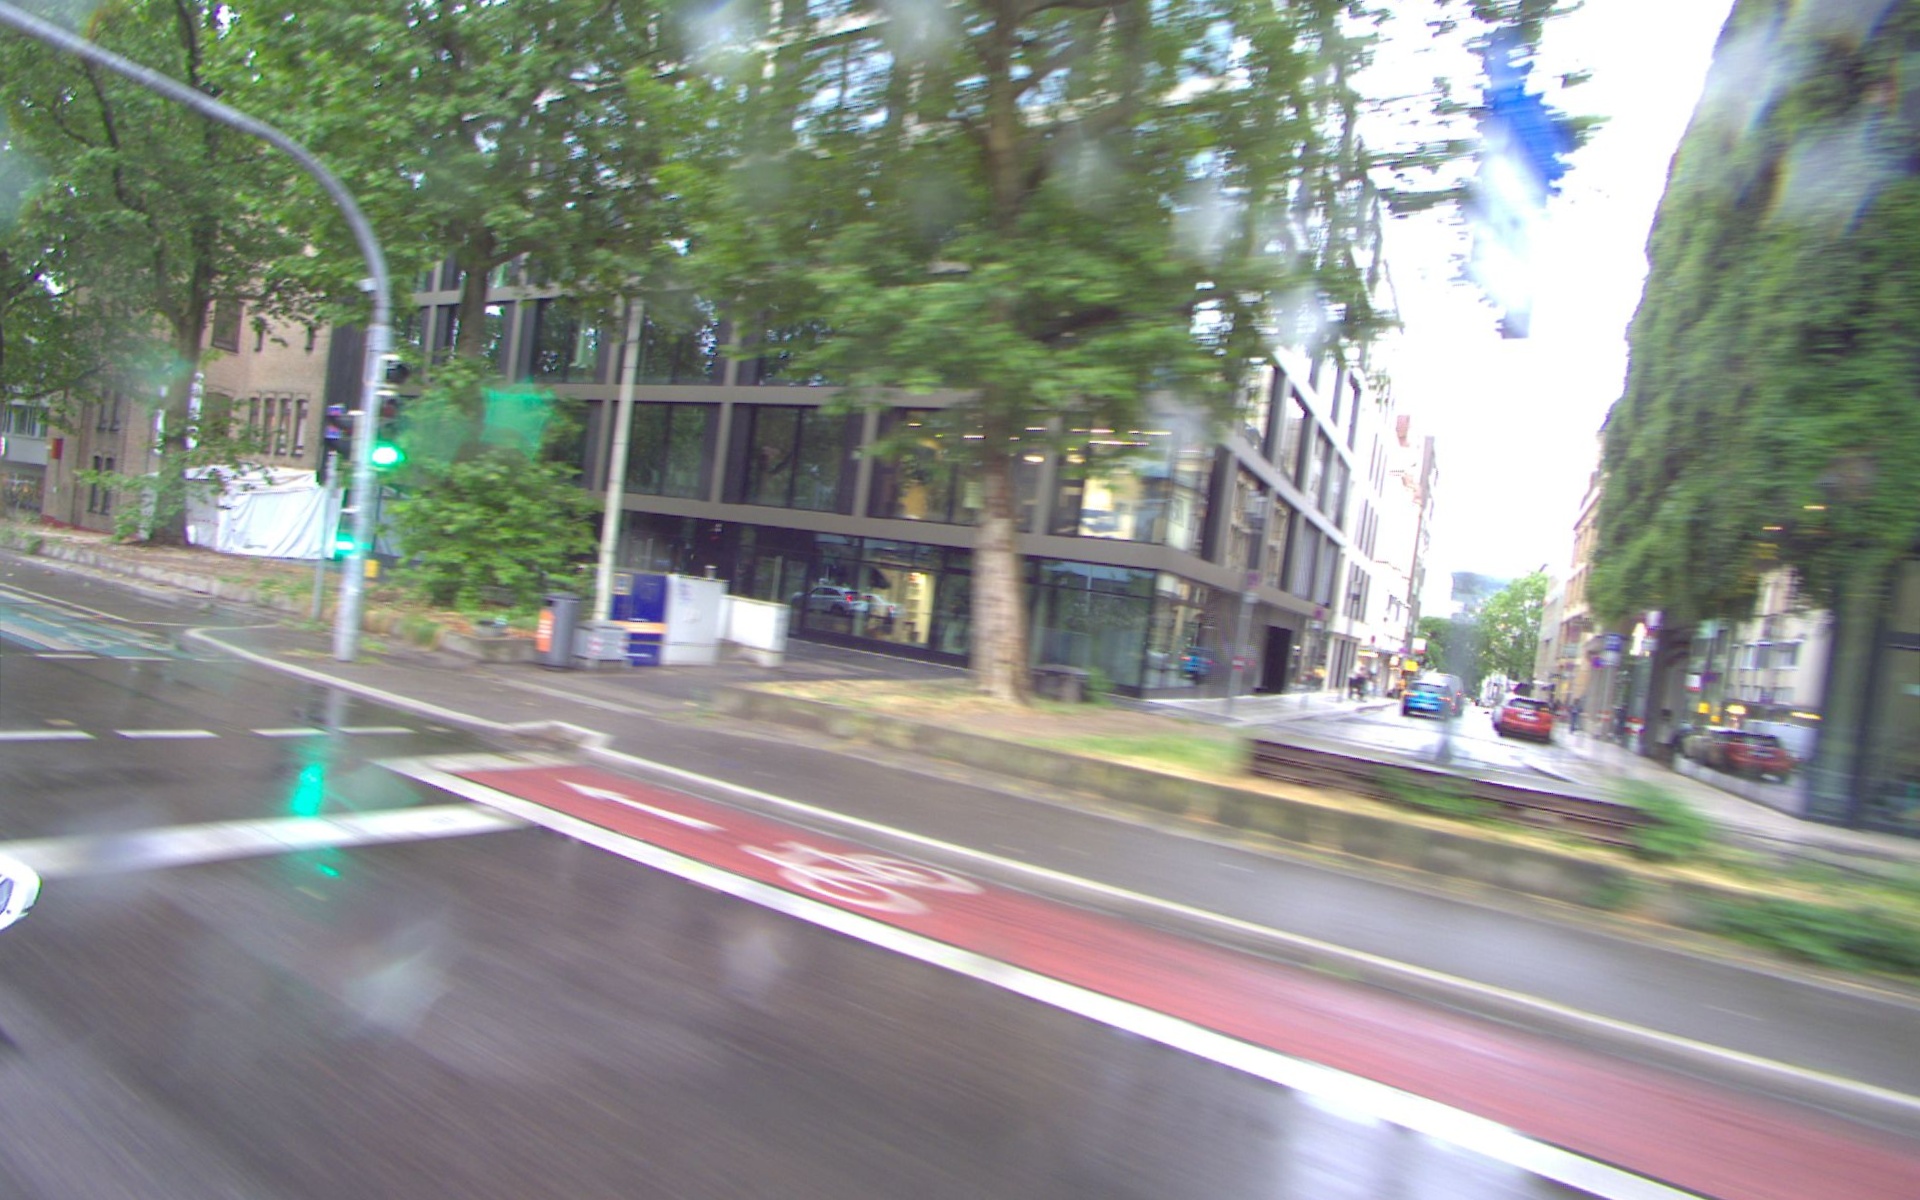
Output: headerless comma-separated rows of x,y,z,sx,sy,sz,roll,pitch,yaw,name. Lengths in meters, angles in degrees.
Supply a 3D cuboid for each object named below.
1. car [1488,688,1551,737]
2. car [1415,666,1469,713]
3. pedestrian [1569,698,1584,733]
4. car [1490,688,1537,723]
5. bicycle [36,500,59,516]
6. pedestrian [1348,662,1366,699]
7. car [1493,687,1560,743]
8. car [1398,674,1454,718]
22.069,4.437,39.788,1.754,1.607,3.801,7,-2,26,car
23.391,4.372,48.739,1.893,1.968,4.959,6,-2,30,car
27.423,5.132,44.737,0.413,1.473,0.427,7,-1,29,pedestrian
27.455,5.256,49.991,1.813,1.402,3.998,7,-2,28,car
-56.144,-5.651,61.879,1.993,0.846,0.449,6,-1,32,bicycle
17.517,3.549,44.367,0.537,1.579,0.503,7,-1,27,pedestrian
20.107,4.084,35.822,1.813,1.607,3.998,7,-2,28,car
18.930,3.856,40.784,1.770,1.453,4.059,7,-1,27,car
